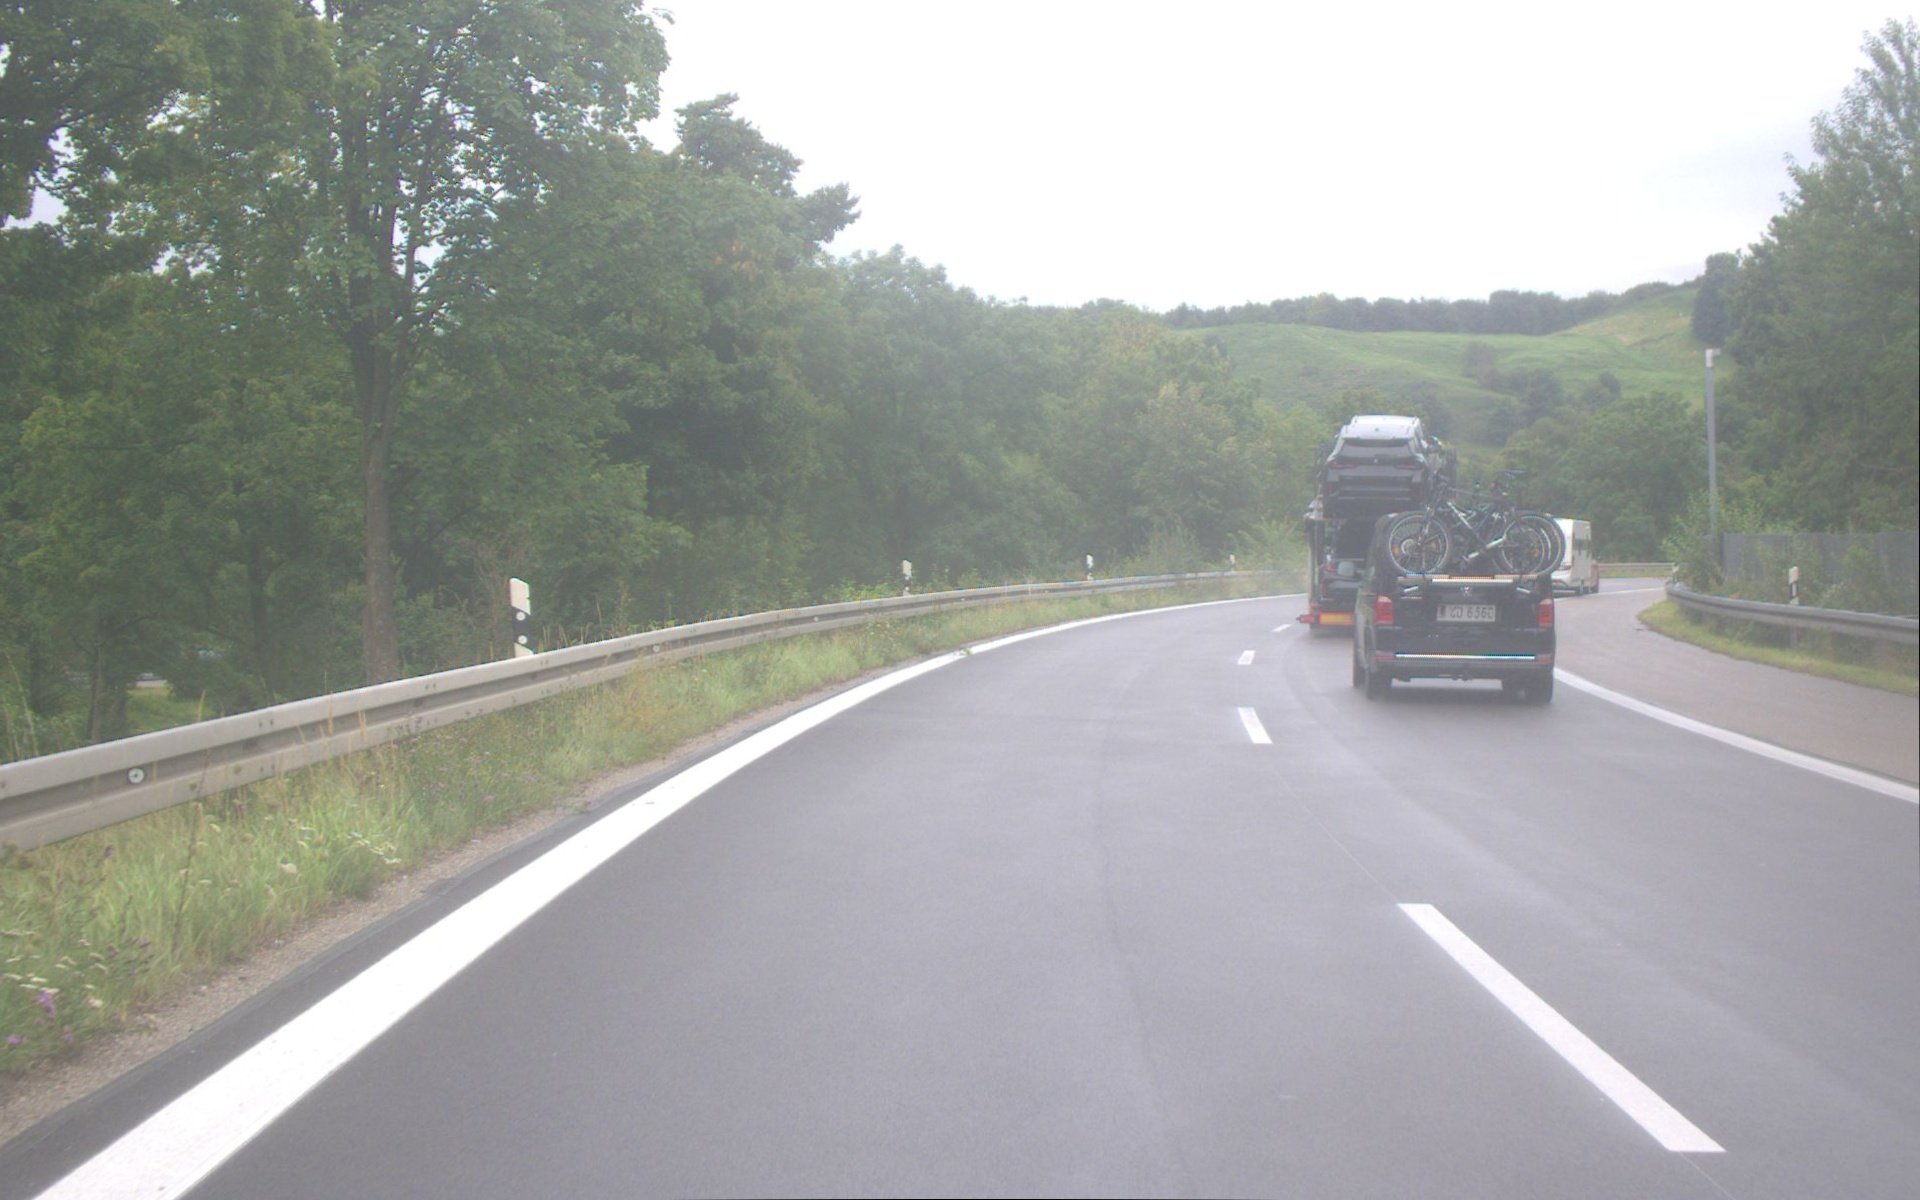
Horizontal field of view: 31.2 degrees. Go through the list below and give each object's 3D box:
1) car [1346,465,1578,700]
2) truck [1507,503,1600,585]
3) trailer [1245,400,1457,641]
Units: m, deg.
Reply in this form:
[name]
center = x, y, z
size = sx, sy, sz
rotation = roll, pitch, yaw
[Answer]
[car]
center = 5.153, -0.232, 35.992
size = 2.110, 2.257, 5.895
rotation = 0, 1, 5
[truck]
center = 19.805, -1.887, 114.530
size = 2.650, 2.596, 6.416
rotation = -1, 1, 13
[trailer]
center = 7.404, -1.478, 64.371
size = 3.450, 3.986, 12.024
rotation = 2, 1, 7
